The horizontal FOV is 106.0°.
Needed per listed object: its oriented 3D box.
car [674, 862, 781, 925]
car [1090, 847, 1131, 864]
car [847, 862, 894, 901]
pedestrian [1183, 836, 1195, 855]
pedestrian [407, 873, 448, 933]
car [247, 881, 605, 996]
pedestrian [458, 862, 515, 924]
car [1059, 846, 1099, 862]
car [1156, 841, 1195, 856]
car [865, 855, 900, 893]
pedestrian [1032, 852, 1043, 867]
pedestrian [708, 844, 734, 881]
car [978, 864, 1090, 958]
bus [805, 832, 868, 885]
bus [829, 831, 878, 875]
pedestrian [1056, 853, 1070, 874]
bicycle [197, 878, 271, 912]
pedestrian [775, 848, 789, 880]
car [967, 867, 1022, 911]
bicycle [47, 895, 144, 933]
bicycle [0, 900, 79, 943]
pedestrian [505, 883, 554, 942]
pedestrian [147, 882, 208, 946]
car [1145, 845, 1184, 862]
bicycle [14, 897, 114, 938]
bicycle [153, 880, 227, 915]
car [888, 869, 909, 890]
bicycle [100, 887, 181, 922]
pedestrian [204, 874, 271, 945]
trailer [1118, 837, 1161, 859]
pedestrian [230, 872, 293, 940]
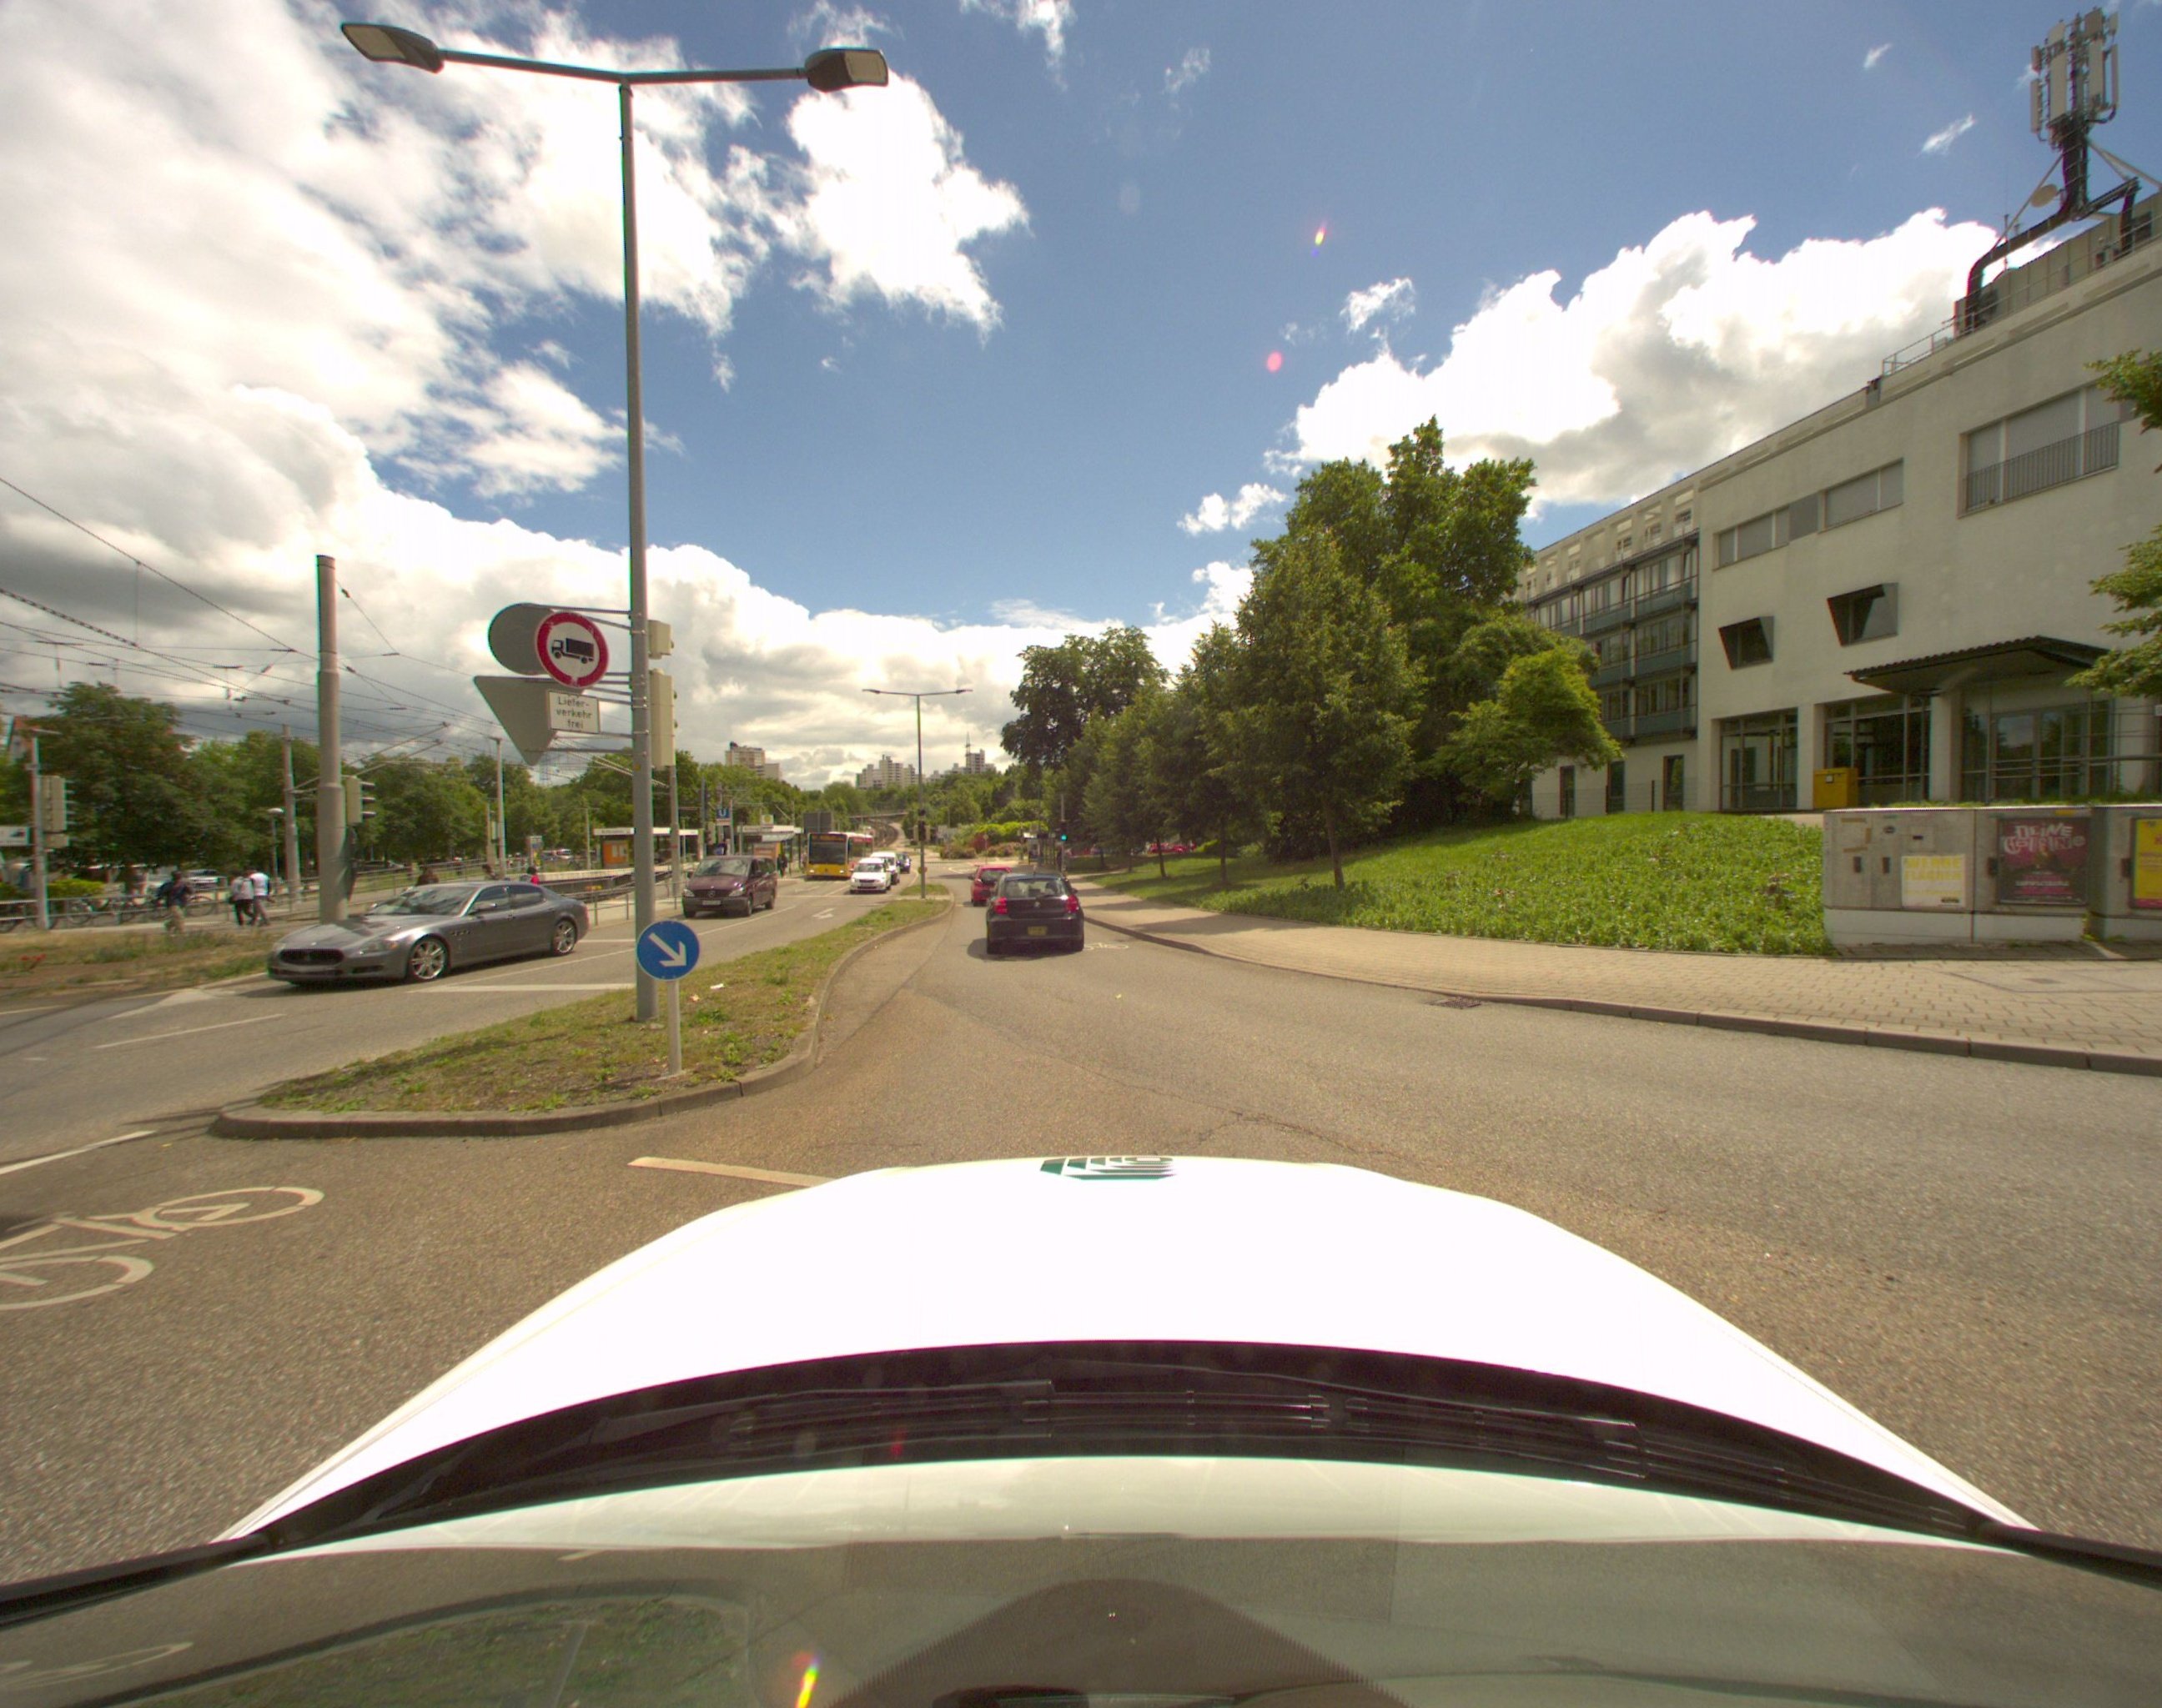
[{"bbox_3d":[-11.191,1.176,26.186,1.993,1.822,5.054,0,-1,-10],"label":"car"},{"bbox_3d":[3.022,0.143,83.867,3.798,1.456,1.888,-3,2,-13],"label":"car"},{"bbox_3d":[-9.932,1.235,38.644,1.698,1.648,4.067,0,1,-8],"label":"car"},{"bbox_3d":[10.148,-0.808,76.660,0.982,1.760,0.858,-2,0,0],"label":"pedestrian"},{"bbox_3d":[-18.052,1.326,22.515,0.838,1.596,0.635,-1,-1,-36],"label":"pedestrian"},{"bbox_3d":[-10.275,1.213,13.462,1.791,1.410,5.051,-1,-1,0],"label":"car"},{"bbox_3d":[-16.380,1.052,22.460,0.860,1.636,0.918,-2,0,-6],"label":"pedestrian"},{"bbox_3d":[-0.205,-0.012,92.261,4.164,1.561,1.990,-2,3,-16],"label":"car"},{"bbox_3d":[10.988,-0.644,95.129,4.084,1.502,1.992,-3,2,-13],"label":"car"},{"bbox_3d":[-11.325,1.111,46.727,1.763,1.662,4.489,-2,5,-12],"label":"car"},{"bbox_3d":[-3.812,0.476,71.406,0.826,1.259,0.684,-1,1,-8],"label":"pedestrian"},{"bbox_3d":[-19.720,0.461,44.638,0.970,2.013,1.026,-2,0,-7],"label":"pedestrian"},{"bbox_3d":[-0.998,0.962,15.466,1.813,1.420,3.991,-2,0,-7],"label":"car"},{"bbox_3d":[-16.159,0.136,54.448,2.726,3.108,9.674,-1,2,-10],"label":"bus"},{"bbox_3d":[-17.665,-0.184,63.697,2.726,3.069,8.935,-1,2,-10],"label":"bus"},{"bbox_3d":[-1.195,0.651,54.967,0.819,1.424,0.827,-1,0,-10],"label":"pedestrian"},{"bbox_3d":[-30.087,1.438,28.942,1.890,1.097,0.695,-2,2,3],"label":"bicycle"},{"bbox_3d":[-19.480,0.660,53.071,0.703,2.013,0.824,-2,0,-14],"label":"pedestrian"},{"bbox_3d":[-3.321,1.274,30.785,1.766,1.432,3.467,-2,1,-10],"label":"car"},{"bbox_3d":[-30.317,1.834,25.087,1.898,1.063,0.692,-2,0,-9],"label":"bicycle"},{"bbox_3d":[-29.980,1.922,23.207,1.894,1.098,0.694,-2,0,-2],"label":"bicycle"},{"bbox_3d":[-15.000,1.585,22.189,0.800,1.540,0.831,1,-1,-12],"label":"pedestrian"},{"bbox_3d":[-23.339,1.534,21.057,0.836,1.604,0.665,-1,-2,-23],"label":"pedestrian"},{"bbox_3d":[8.732,-0.098,85.147,3.690,1.643,1.822,-1,2,-13],"label":"car"},{"bbox_3d":[-30.087,1.875,24.120,1.896,1.098,0.693,-2,0,-6],"label":"bicycle"},{"bbox_3d":[-30.115,1.478,27.525,1.890,1.098,0.609,-2,0,3],"label":"bicycle"},{"bbox_3d":[-14.311,1.970,63.971,1.530,1.551,3.718,1,0,-11],"label":"car"},{"bbox_3d":[-30.396,1.636,26.338,1.890,1.029,0.695,-2,0,4],"label":"bicycle"},{"bbox_3d":[-22.593,1.468,21.842,0.905,1.822,0.771,-2,0,-6],"label":"pedestrian"},{"bbox_3d":[6.711,-0.735,94.195,4.541,2.486,2.213,-1,2,-12],"label":"trailer"},{"bbox_3d":[-22.872,1.434,22.747,0.905,1.822,0.771,-2,0,-6],"label":"pedestrian"}]
